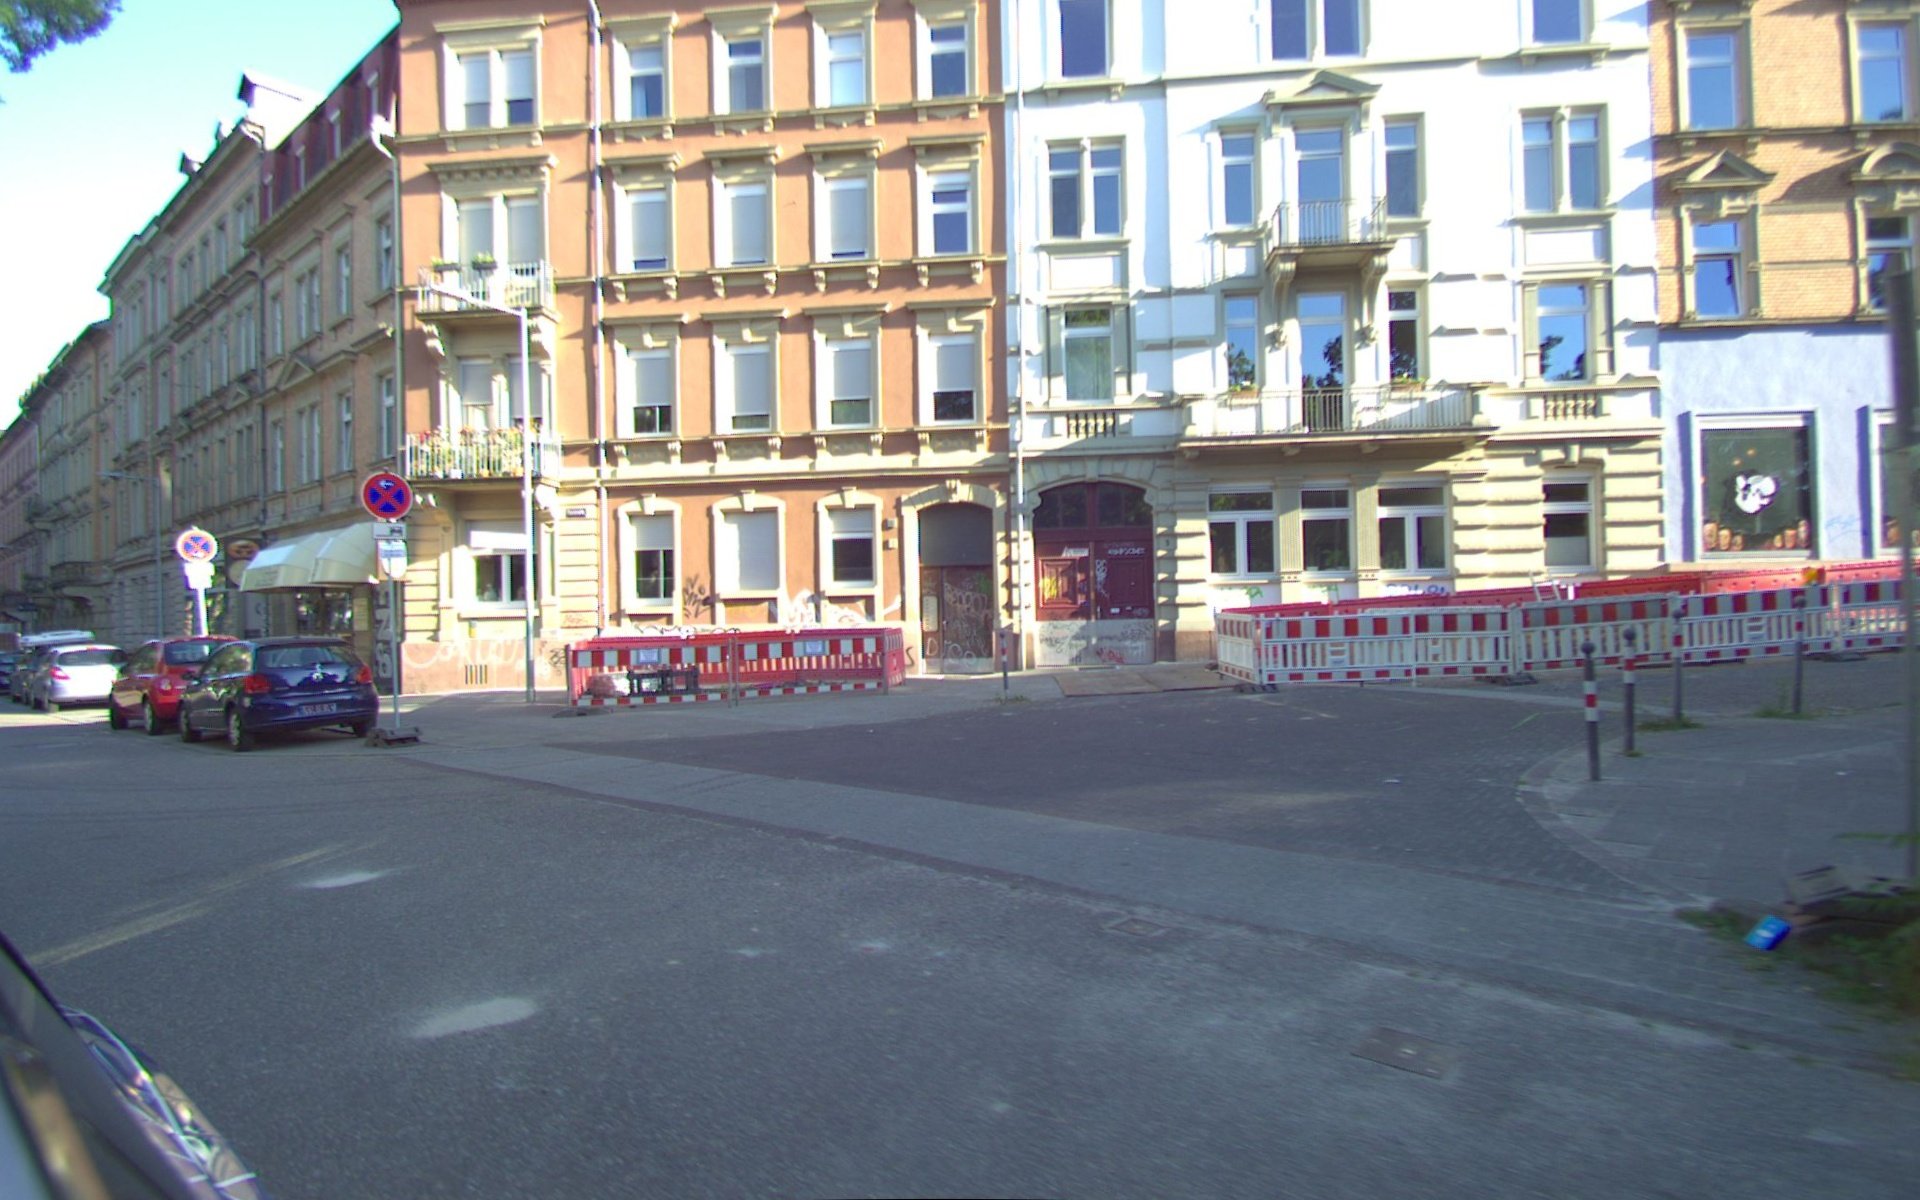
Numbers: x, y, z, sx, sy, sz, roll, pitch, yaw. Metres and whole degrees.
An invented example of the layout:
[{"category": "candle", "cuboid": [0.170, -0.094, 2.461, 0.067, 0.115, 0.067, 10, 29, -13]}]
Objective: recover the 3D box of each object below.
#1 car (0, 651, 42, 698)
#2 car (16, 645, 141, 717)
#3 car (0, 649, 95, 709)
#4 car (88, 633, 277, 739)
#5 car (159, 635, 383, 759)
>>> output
[{"category": "car", "cuboid": [-32.339, 2.513, 34.021, 4.016, 1.465, 1.686, -3, -2, 40]}, {"category": "car", "cuboid": [-20.937, 1.871, 23.988, 3.994, 1.448, 1.707, -3, 0, 42]}, {"category": "car", "cuboid": [-25.058, 2.106, 27.424, 4.296, 1.448, 1.747, -3, -2, 40]}, {"category": "car", "cuboid": [-13.317, 1.399, 17.266, 3.995, 1.542, 1.653, -3, -1, 39]}, {"category": "car", "cuboid": [-9.893, 1.297, 14.425, 3.997, 1.469, 1.652, -3, -1, 41]}]
